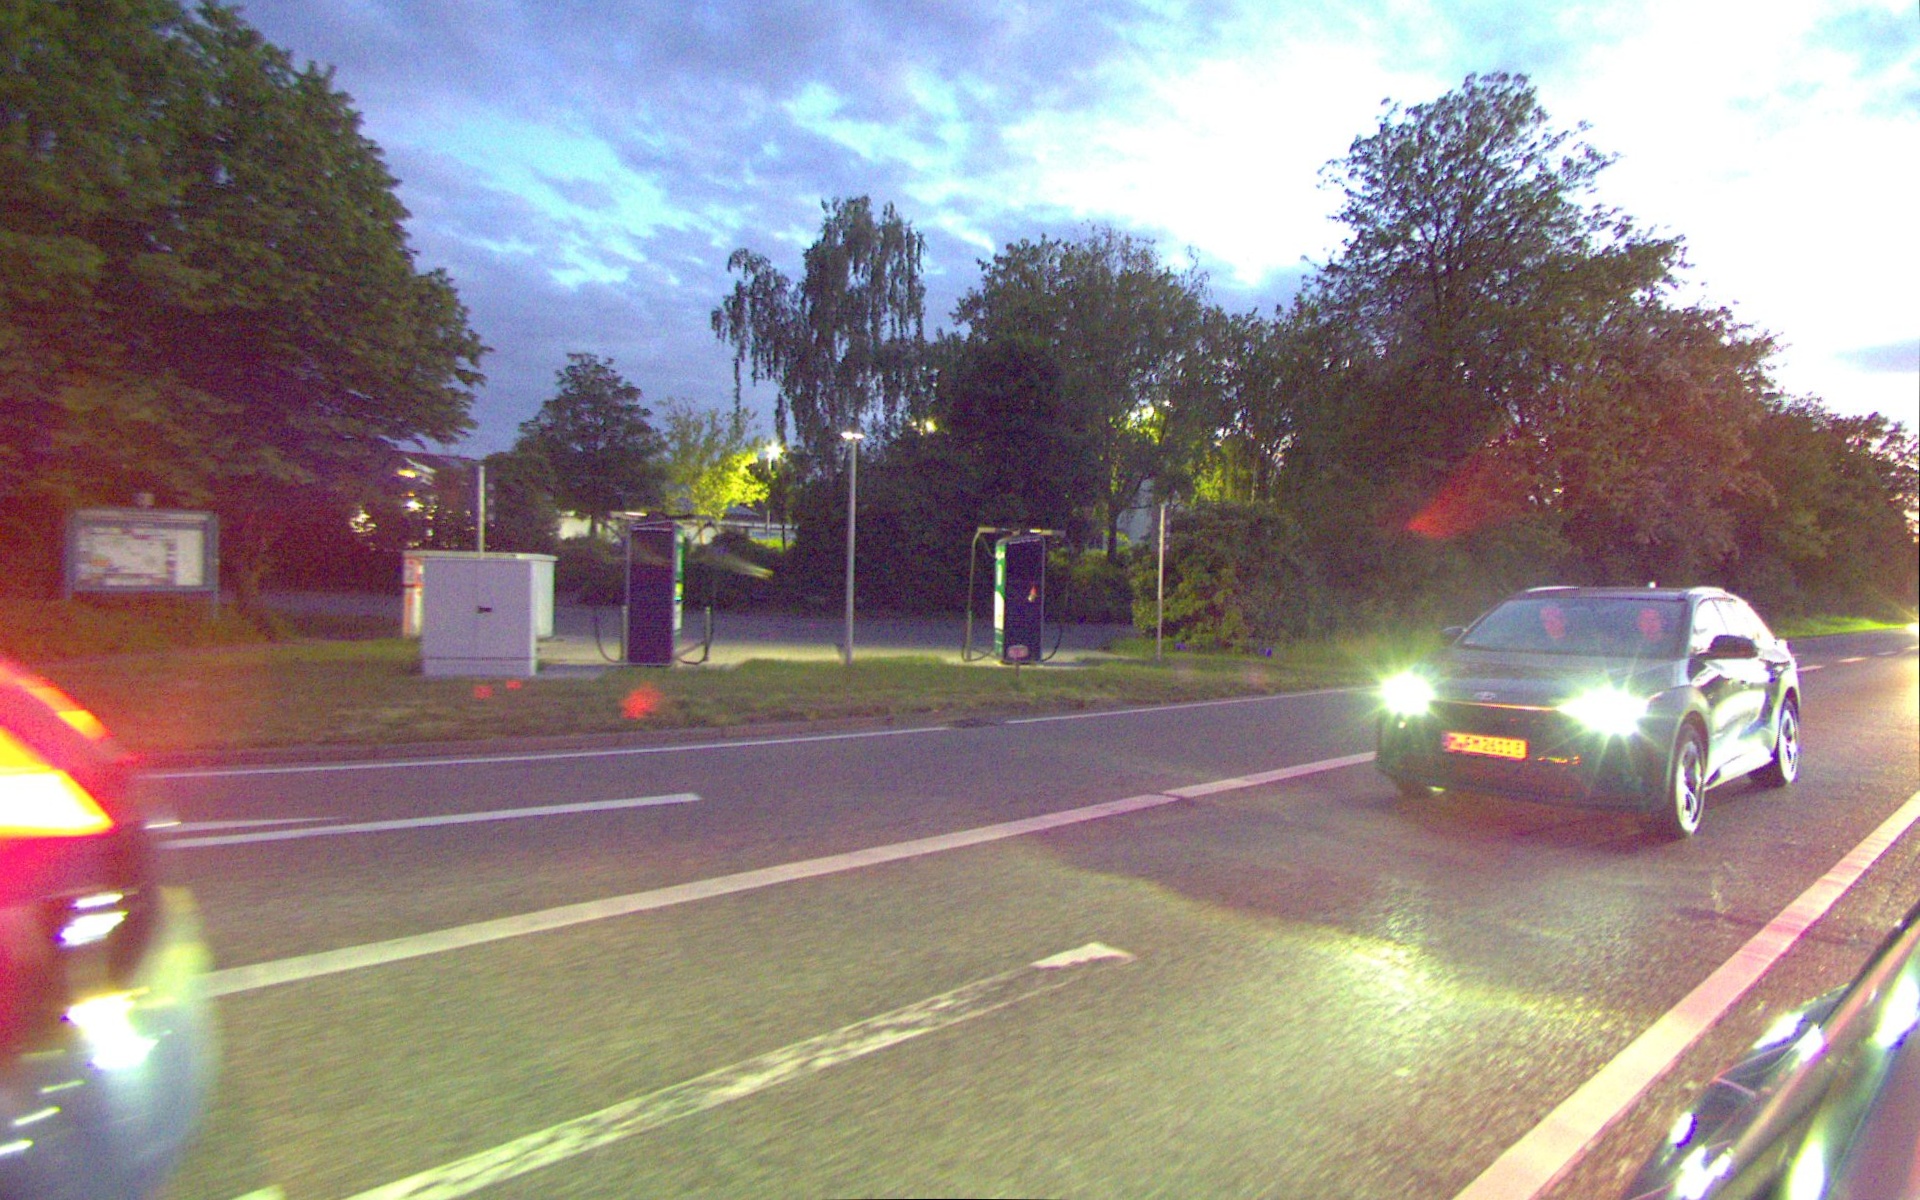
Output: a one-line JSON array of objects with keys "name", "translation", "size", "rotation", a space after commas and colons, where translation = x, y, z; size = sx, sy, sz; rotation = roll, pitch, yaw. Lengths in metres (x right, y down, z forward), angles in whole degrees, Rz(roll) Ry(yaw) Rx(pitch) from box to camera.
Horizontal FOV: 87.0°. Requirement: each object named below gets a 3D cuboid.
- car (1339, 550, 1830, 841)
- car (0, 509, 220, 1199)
[{"name": "car", "translation": [5.090, 0.526, 7.952], "size": [4.629, 1.630, 1.997], "rotation": [0, 0, -41]}, {"name": "car", "translation": [-3.312, 0.622, 1.051], "size": [4.032, 1.540, 1.674], "rotation": [0, 1, -39]}]
